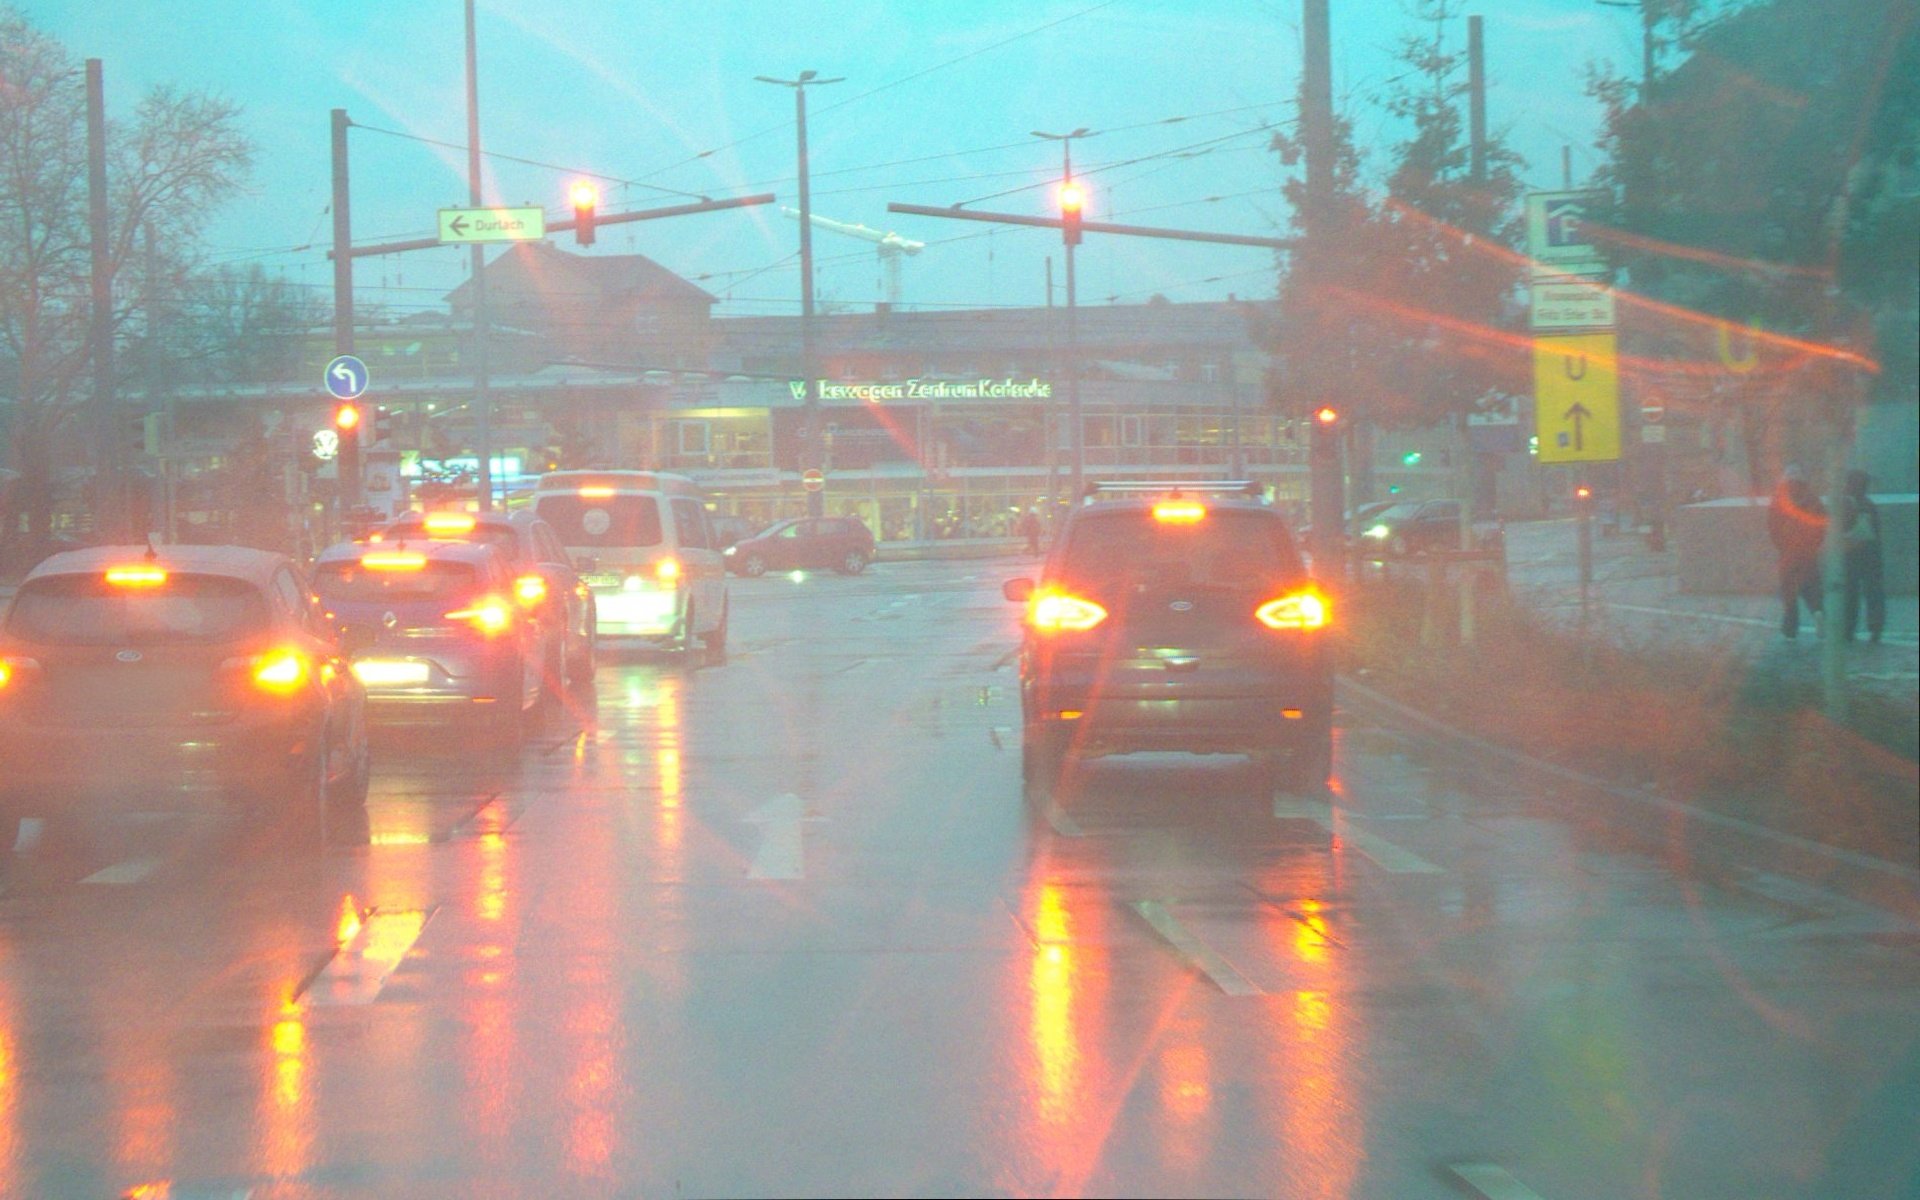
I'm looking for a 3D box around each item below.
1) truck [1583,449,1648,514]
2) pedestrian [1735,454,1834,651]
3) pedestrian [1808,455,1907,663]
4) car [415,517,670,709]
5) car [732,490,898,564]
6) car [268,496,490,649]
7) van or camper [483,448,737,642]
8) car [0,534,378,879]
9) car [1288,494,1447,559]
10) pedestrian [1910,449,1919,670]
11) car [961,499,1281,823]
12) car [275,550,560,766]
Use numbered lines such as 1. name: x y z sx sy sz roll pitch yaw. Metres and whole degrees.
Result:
1. truck: 27.975 -5.037 146.608 1.995 2.682 5.111 -1 1 19
2. pedestrian: 8.245 -0.489 34.368 0.808 1.923 0.759 1 4 26
3. pedestrian: 8.896 -0.419 34.064 0.808 2.006 0.759 1 4 26
4. car: -3.738 0.061 31.469 1.785 1.595 4.542 1 1 0
5. car: -3.713 -1.862 87.733 3.986 1.766 2.001 -2 1 -9
6. car: -7.069 -0.372 42.210 1.885 1.766 4.000 -1 1 2
7. van or camper: -3.951 -0.651 39.731 2.202 2.102 4.987 0 1 3
8. car: -3.958 0.447 17.419 1.700 1.476 3.873 1 2 -6
9. car: 10.416 -1.870 87.662 1.998 1.509 3.990 0 2 44
10. pedestrian: 7.405 -0.236 25.309 0.584 1.775 0.768 -3 0 26
11. car: 1.033 0.281 21.466 1.778 1.794 4.424 0 2 3
12. car: -3.867 0.359 25.074 1.659 1.399 4.121 1 1 -4
